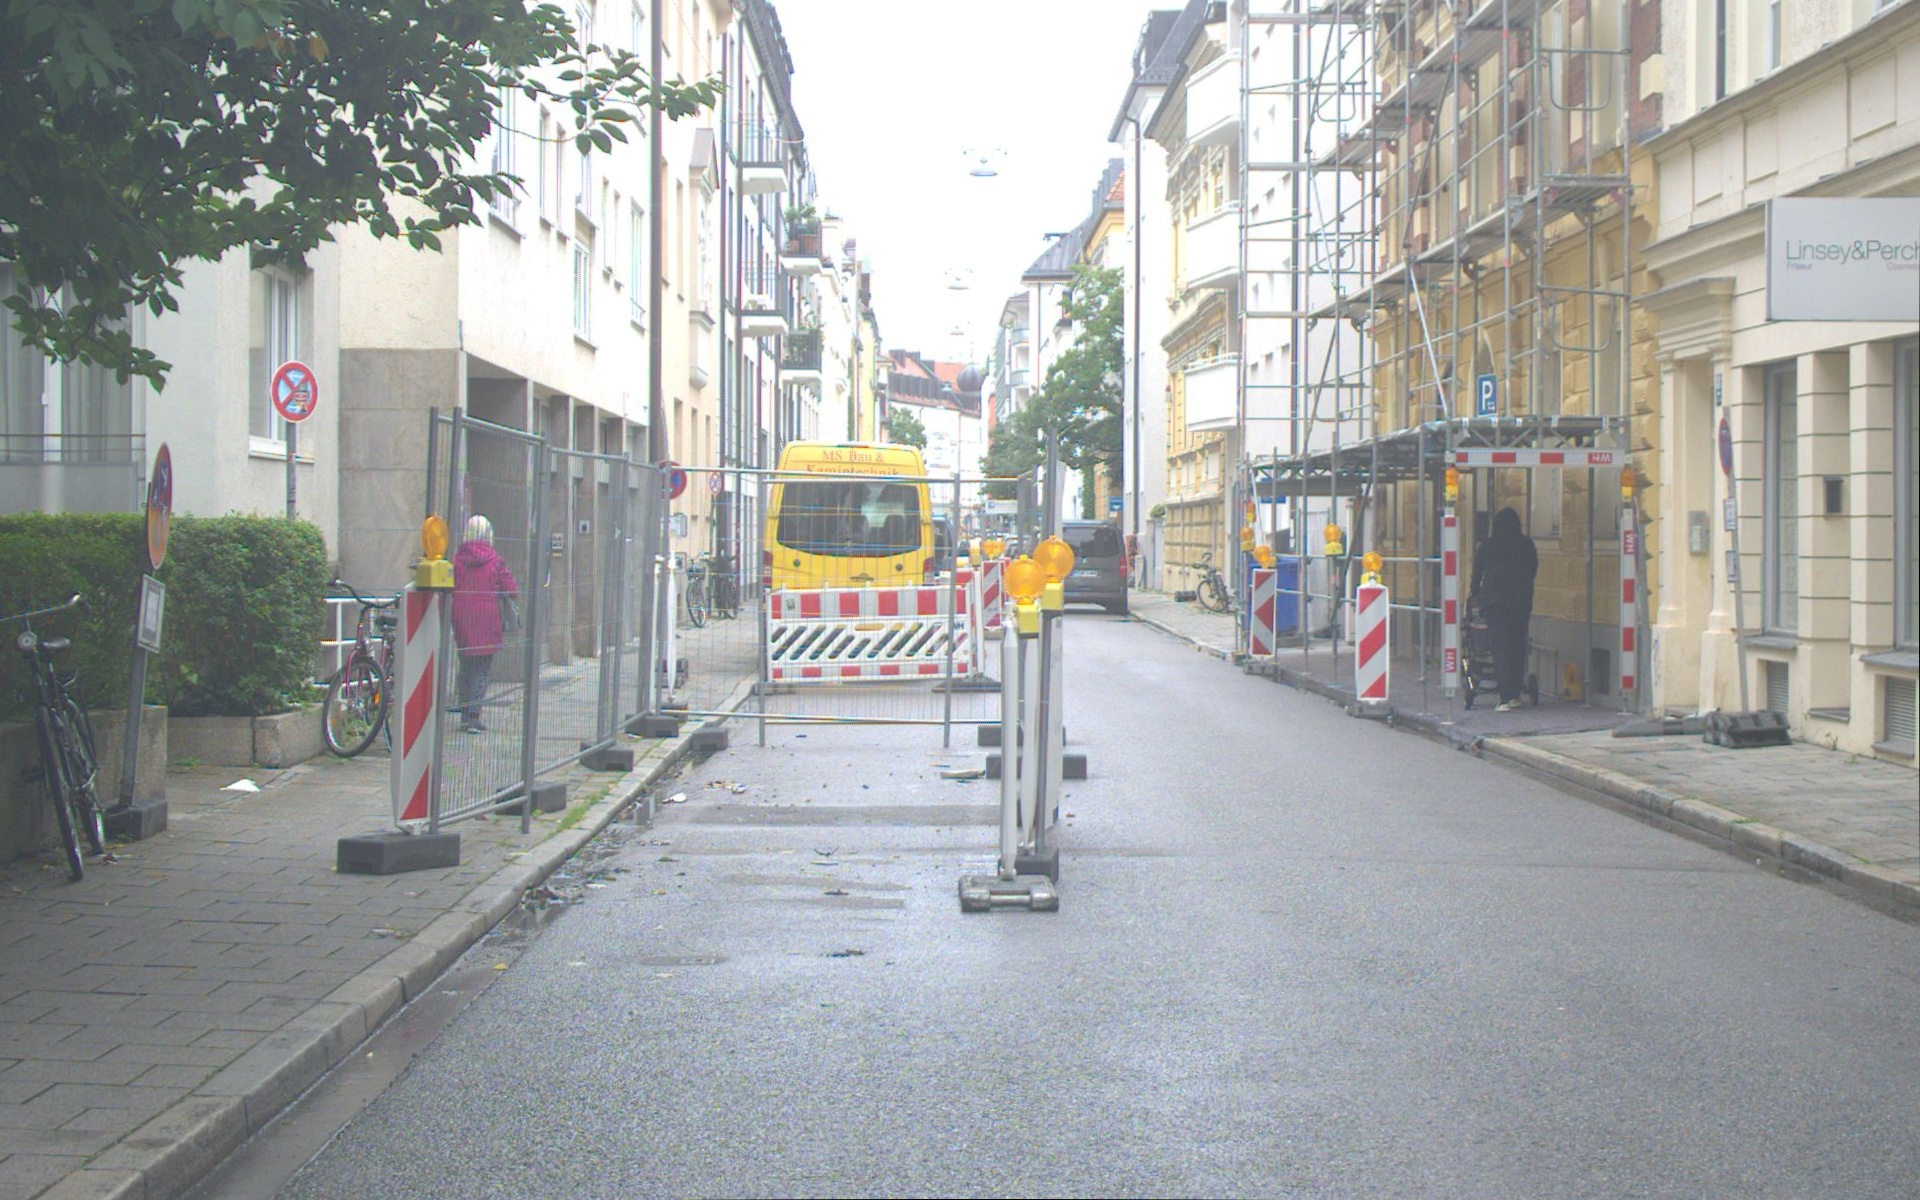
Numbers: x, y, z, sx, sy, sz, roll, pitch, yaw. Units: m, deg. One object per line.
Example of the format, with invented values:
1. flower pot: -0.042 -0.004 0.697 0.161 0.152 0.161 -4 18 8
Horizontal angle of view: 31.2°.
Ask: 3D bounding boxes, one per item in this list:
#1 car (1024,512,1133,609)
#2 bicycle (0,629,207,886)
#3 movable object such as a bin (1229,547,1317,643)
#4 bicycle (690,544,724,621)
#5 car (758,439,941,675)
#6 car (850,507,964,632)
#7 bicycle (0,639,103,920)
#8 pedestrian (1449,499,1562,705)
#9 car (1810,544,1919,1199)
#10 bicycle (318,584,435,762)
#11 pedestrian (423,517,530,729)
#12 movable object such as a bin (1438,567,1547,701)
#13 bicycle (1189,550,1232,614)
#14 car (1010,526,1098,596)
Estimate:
1. car: 2.472 -0.863 72.967 1.993 1.925 4.660 2 1 -1
2. bicycle: -3.646 0.632 14.553 0.443 0.975 1.816 3 0 1
3. movable object such as a bin: 4.614 -0.082 50.602 1.087 1.341 1.317 -2 1 12
4. bicycle: -4.120 -0.297 55.885 0.381 1.184 2.136 1 2 -8
5. car: -1.282 -0.537 40.927 1.993 2.570 6.737 0 1 -1
6. car: -0.856 -0.522 56.080 1.727 1.891 5.509 -1 1 -1
7. bicycle: -3.654 0.655 12.687 0.443 0.975 1.853 3 0 1
8. pedestrian: 4.811 0.007 30.382 0.729 1.746 0.988 -3 1 -1
9. car: 3.076 0.686 6.868 1.772 1.519 4.066 2 1 1
10. bicycle: -3.807 0.458 22.493 0.377 1.059 1.597 6 1 0
11. pedestrian: -3.550 0.159 25.302 0.638 1.526 0.747 -1 1 2
12. movable object such as a bin: 4.799 0.295 31.029 0.729 1.137 0.988 -4 1 -2
13. bicycle: 4.809 -0.355 66.117 0.638 1.149 1.915 -2 2 0
14. car: 2.230 -0.967 82.803 1.894 1.635 4.322 0 1 -1
